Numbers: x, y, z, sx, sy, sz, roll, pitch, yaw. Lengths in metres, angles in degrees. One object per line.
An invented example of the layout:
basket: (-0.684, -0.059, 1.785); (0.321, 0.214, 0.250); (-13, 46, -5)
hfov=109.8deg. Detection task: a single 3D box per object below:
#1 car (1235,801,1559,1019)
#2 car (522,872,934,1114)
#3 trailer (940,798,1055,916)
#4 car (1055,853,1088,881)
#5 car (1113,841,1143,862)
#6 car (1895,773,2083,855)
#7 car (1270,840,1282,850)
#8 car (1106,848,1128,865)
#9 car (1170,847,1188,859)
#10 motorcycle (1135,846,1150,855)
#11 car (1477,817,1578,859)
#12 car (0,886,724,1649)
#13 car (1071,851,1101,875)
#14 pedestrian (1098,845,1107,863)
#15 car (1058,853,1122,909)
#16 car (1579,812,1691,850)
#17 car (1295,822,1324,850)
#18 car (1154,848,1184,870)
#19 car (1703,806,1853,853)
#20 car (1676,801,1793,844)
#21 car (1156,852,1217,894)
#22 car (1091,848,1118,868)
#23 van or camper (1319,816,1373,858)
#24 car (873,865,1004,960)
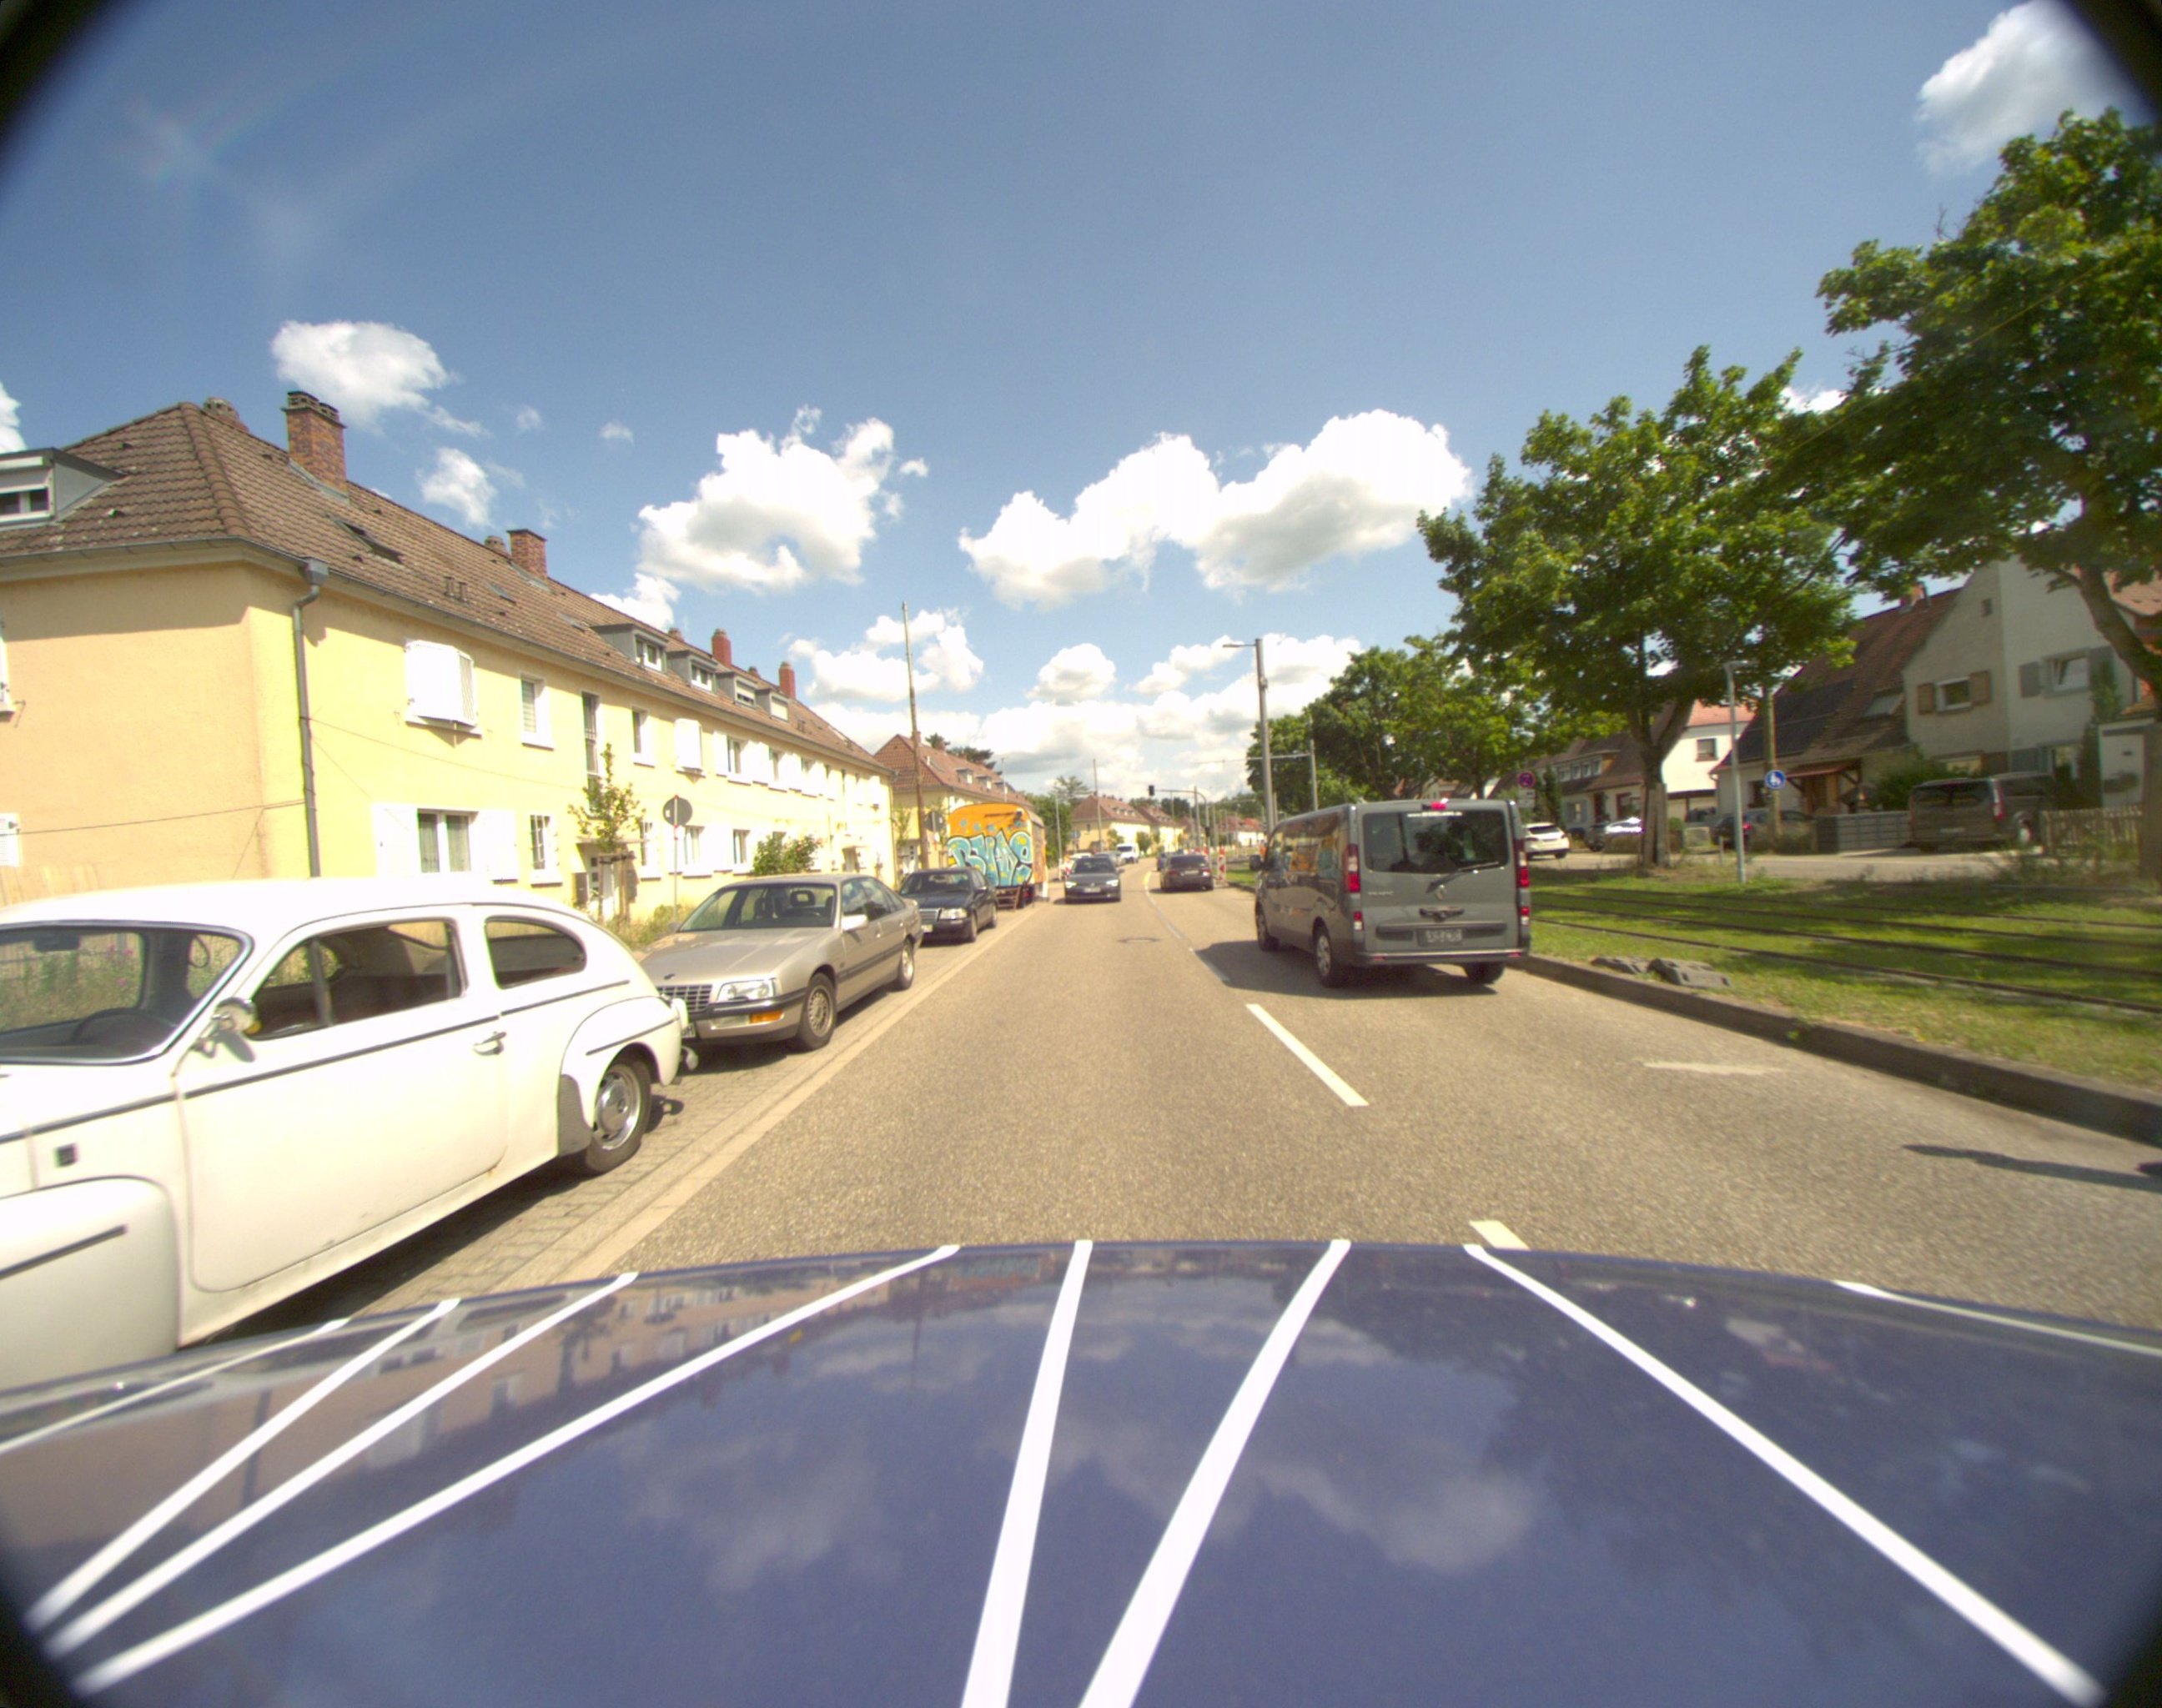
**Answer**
car: (3.493, 0.518, 9.762); (1.960, 1.955, 5.293); (-3, 0, 1)
car: (-2.896, 1.016, 7.645); (1.711, 1.441, 4.835); (-4, 0, 1)
trailer: (-2.480, 0.075, 24.218); (2.696, 3.208, 5.082); (-4, 0, 2)
car: (-0.538, 0.727, 45.881); (1.466, 1.493, 4.110); (-3, 1, 5)
car: (5.232, -0.299, 84.120); (2.280, 2.170, 6.373); (-3, 0, 12)
car: (25.360, -1.091, 21.251); (3.898, 1.886, 1.940); (-5, 1, -17)
car: (35.811, -1.688, 139.610); (1.728, 1.553, 4.546); (-3, 0, 17)
car: (3.544, 0.195, 74.581); (1.711, 1.495, 4.257); (-3, 0, 8)
car: (14.709, -0.119, 114.019); (1.877, 1.544, 4.990); (-3, 0, 15)
motorcycle: (9.847, -0.540, 121.691); (2.231, 1.190, 0.855); (-3, 1, 18)
car: (21.140, -0.737, 36.247); (1.886, 1.758, 5.083); (-3, 0, 2)
car: (-3.153, 1.014, 2.596); (1.581, 1.504, 4.459); (-4, 0, 1)
car: (0.380, 0.604, 52.058); (1.530, 1.472, 3.811); (-3, 1, 8)
pedestrian: (2.496, -0.008, 88.258); (0.774, 2.002, 0.762); (-3, 1, 10)
car: (0.391, 0.790, 24.409); (1.742, 1.513, 4.702); (-2, 1, 4)
car: (27.009, -1.083, 37.128); (3.996, 1.521, 1.874); (-4, 0, 2)
car: (23.470, -1.853, 78.221); (2.157, 2.653, 4.919); (-3, 1, 10)
car: (6.004, 0.304, 52.323); (1.669, 1.441, 3.959); (-1, 0, 1)
car: (26.025, -0.902, 28.467); (3.893, 1.448, 1.735); (-4, 0, 2)
car: (31.743, -1.531, 37.009); (3.996, 1.727, 1.799); (-4, 0, 2)
car: (3.927, 0.668, 28.900); (1.728, 1.381, 4.121); (-3, 0, 1)
car: (1.974, 0.307, 62.582); (1.753, 1.489, 4.388); (-3, 0, 8)
van or camper: (20.320, -1.275, 58.667); (2.380, 2.953, 7.299); (-3, 0, 7)
car: (-2.651, 1.035, 15.158); (1.581, 1.441, 4.453); (-4, 0, 1)
